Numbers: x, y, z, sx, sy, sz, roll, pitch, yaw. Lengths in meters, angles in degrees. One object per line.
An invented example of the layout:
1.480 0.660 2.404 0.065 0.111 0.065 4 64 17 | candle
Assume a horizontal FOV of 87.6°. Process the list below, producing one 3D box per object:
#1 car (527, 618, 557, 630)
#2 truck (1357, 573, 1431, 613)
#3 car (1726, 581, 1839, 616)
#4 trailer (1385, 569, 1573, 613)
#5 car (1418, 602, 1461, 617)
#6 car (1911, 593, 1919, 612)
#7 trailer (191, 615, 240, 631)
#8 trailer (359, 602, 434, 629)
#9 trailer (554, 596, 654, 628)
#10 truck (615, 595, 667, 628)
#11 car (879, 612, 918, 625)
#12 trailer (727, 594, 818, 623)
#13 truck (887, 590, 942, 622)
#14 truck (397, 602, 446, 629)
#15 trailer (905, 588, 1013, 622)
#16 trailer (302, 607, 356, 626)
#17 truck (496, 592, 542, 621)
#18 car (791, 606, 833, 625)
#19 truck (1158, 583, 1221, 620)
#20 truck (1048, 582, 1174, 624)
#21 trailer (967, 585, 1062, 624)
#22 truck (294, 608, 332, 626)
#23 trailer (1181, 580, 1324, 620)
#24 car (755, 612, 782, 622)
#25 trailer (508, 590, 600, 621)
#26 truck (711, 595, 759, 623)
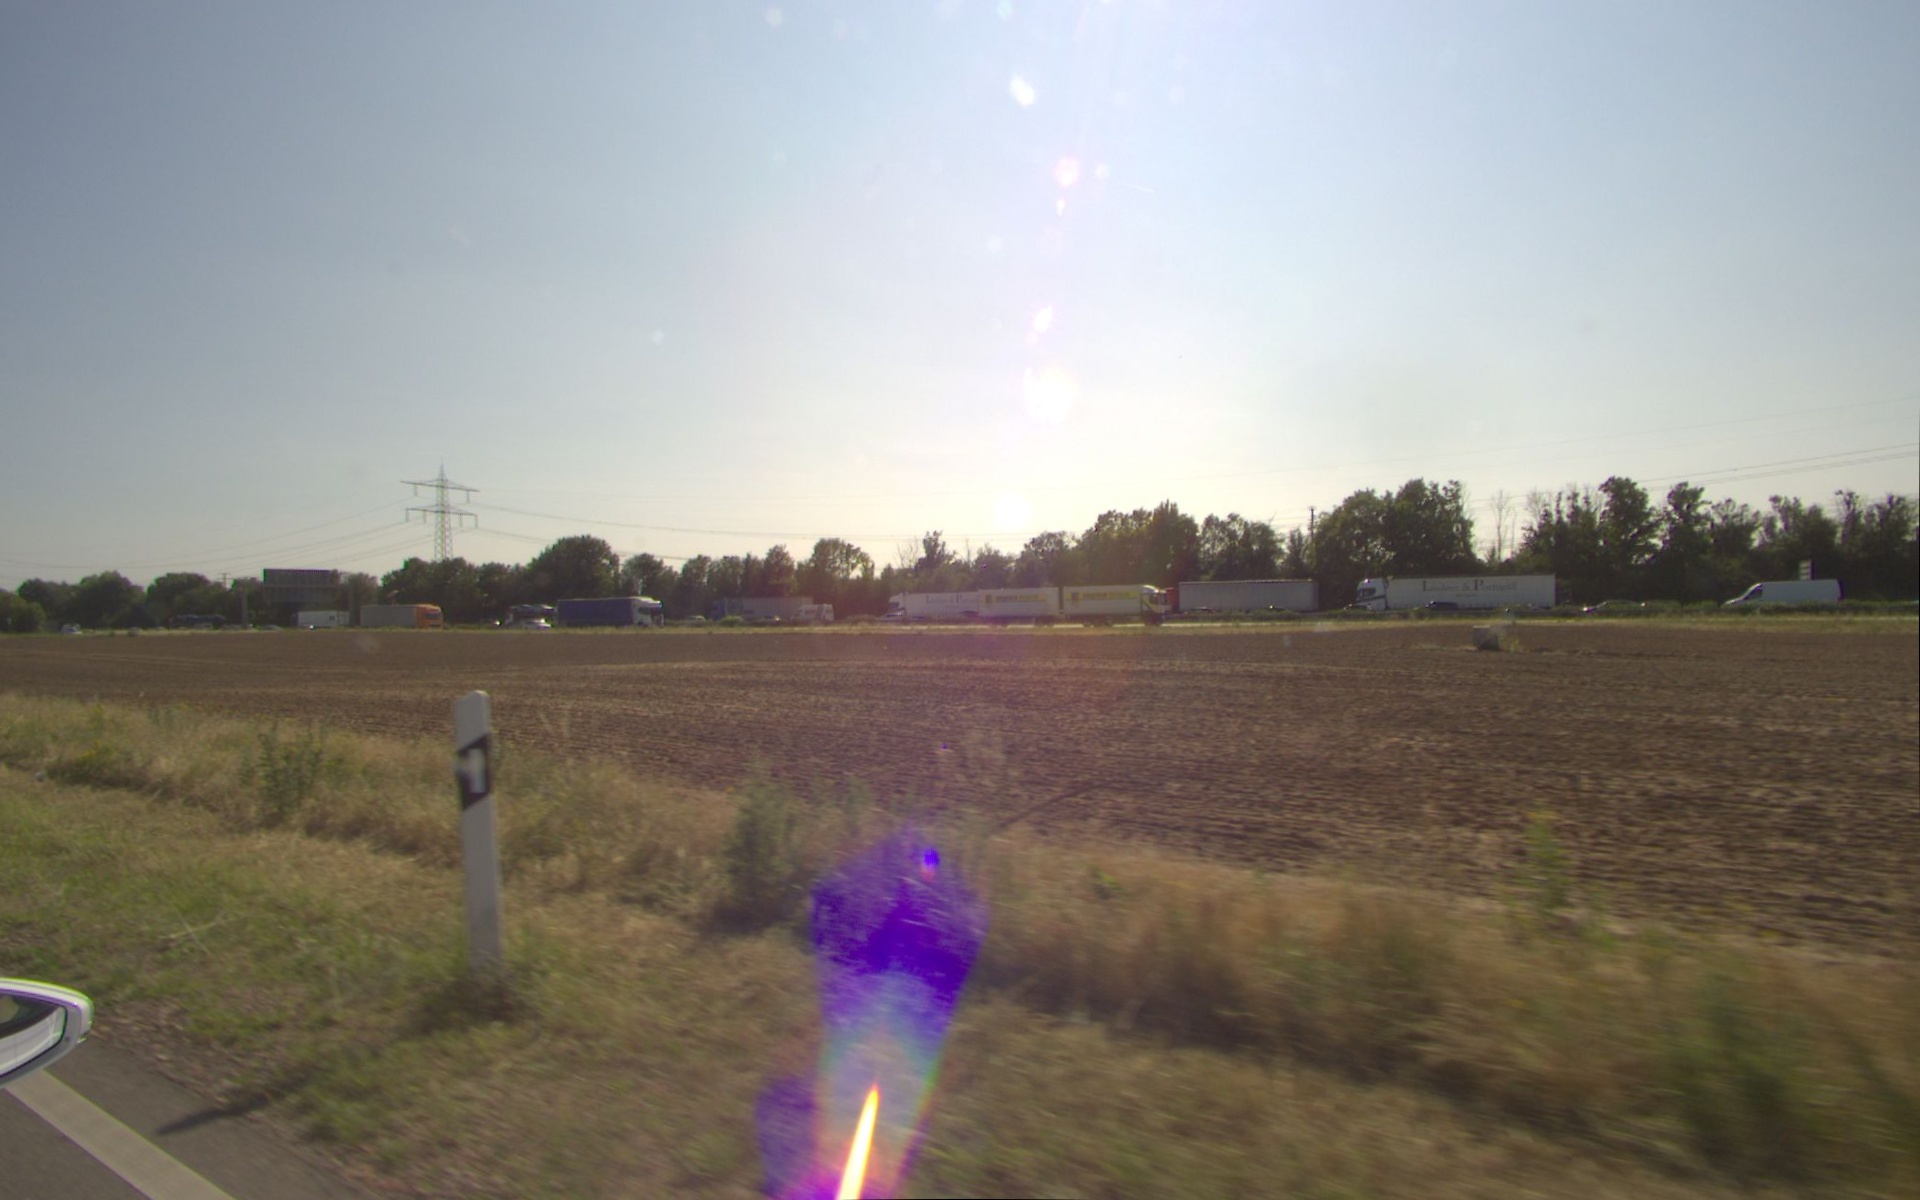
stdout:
-57.379 3.328 137.454 4.139 1.595 1.682 -1 -2 32 | car
40.768 -0.609 94.130 6.019 3.578 3.197 -1 1 31 | truck
61.839 -0.080 75.460 6.321 2.478 2.034 -1 -1 32 | car
46.679 -0.727 90.630 14.861 3.578 3.197 -1 0 31 | trailer
41.238 0.782 86.094 3.242 1.235 1.339 -1 -1 29 | car
68.618 0.137 69.465 3.606 1.324 1.339 -1 -1 29 | car
-157.976 4.910 212.415 13.251 3.310 3.280 -1 0 30 | trailer
-82.820 2.336 146.972 13.513 3.899 3.099 -1 -1 30 | trailer
-44.332 1.476 124.301 14.371 3.852 3.068 0 0 30 | trailer
-38.490 1.368 120.952 5.526 3.852 3.068 0 0 30 | truck
-7.167 2.177 116.814 4.185 1.403 1.848 -1 -2 31 | car
-25.155 1.120 133.745 13.434 3.782 3.066 0 0 33 | trailer
-5.558 0.810 122.236 6.030 3.782 3.066 -1 -1 32 | truck
-77.312 2.249 143.800 6.846 3.899 3.100 -1 -1 30 | truck
-0.211 0.696 118.850 13.175 3.782 3.066 -1 -1 32 | trailer
-120.741 3.171 191.590 12.271 3.310 3.279 -1 0 30 | trailer
-71.216 1.038 161.708 6.605 4.511 3.417 -1 0 29 | truck
-18.095 1.902 122.388 5.160 2.228 1.902 -1 -1 31 | car
23.950 0.203 104.329 5.784 3.782 2.941 -1 -1 31 | truck
13.415 0.316 89.588 10.956 3.524 2.801 -1 0 31 | truck
5.088 0.468 94.545 8.589 3.460 2.789 -1 0 31 | trailer
-125.638 3.291 194.395 6.875 3.310 3.279 -1 0 30 | truck
29.369 0.078 101.036 13.581 3.782 2.941 -1 -1 31 | trailer
-24.085 2.158 125.948 3.134 1.166 1.393 -1 -1 31 | car
-64.061 0.860 157.694 17.299 4.511 3.417 -1 0 29 | trailer
-30.856 1.249 137.407 6.000 3.782 3.066 0 0 32 | truck
